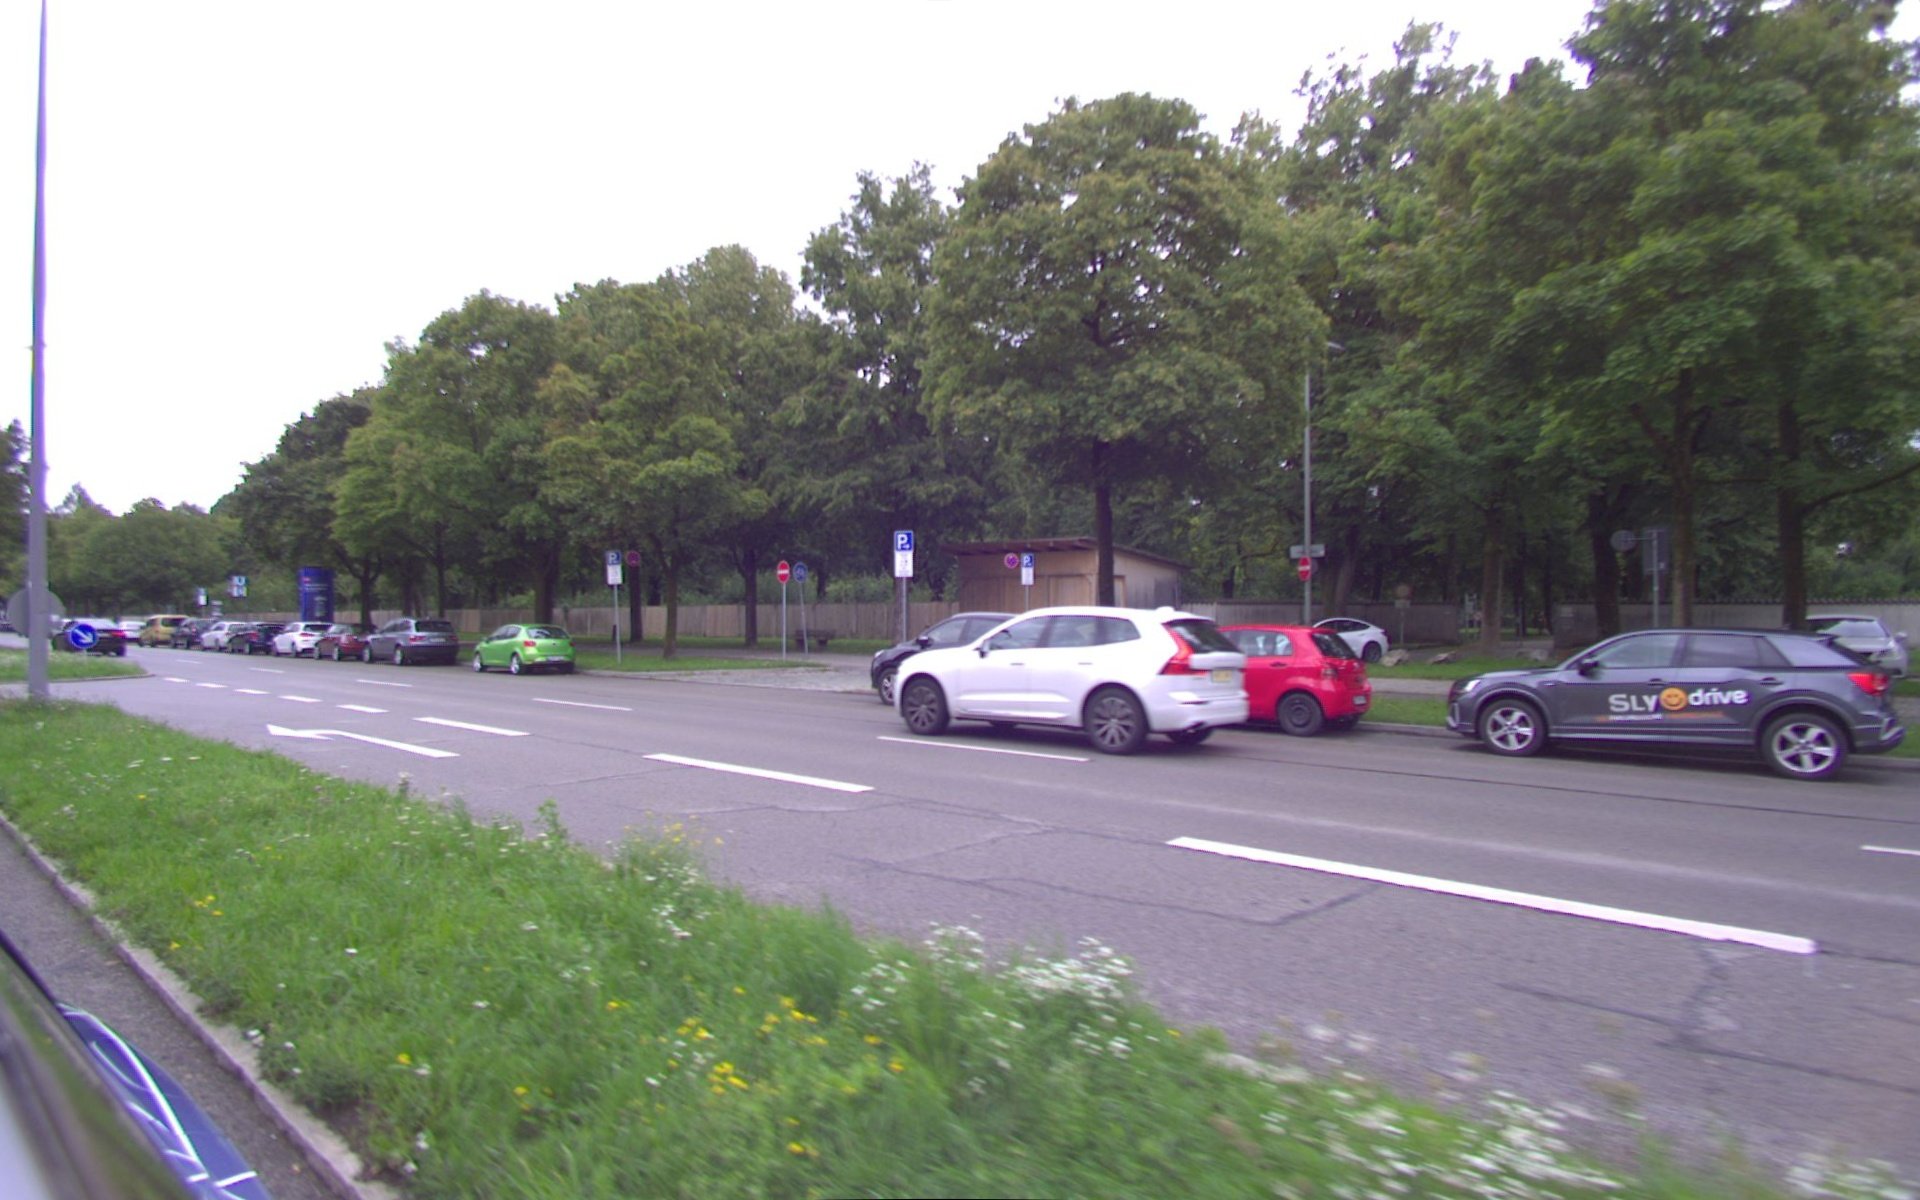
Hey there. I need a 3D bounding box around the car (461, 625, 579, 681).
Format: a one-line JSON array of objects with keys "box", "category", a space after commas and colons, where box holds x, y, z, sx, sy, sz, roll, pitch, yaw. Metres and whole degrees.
[{"box": [-12.795, 1.499, 29.322, 3.999, 1.511, 1.623, -2, -3, 42], "category": "car"}]

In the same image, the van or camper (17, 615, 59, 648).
[{"box": [-81.923, 2.824, 89.932, 4.926, 2.829, 1.974, -1, -3, 39], "category": "van or camper"}]

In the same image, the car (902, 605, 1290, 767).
[{"box": [1.513, 0.939, 12.282, 4.400, 1.612, 1.831, -1, -4, 41], "category": "car"}]

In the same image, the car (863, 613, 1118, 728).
[{"box": [0.451, 1.115, 17.604, 4.236, 1.712, 1.803, 0, 0, 40], "category": "car"}]

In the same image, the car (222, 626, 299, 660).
[{"box": [-31.671, 1.953, 45.779, 3.784, 1.457, 1.803, -1, -4, 39], "category": "car"}]

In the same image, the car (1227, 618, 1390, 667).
[{"box": [10.763, 1.284, 31.354, 4.395, 1.420, 1.863, 0, -1, -12], "category": "car"}]

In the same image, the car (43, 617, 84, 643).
[{"box": [-72.389, 2.417, 81.726, 3.997, 2.029, 1.973, -1, -1, 41], "category": "car"}]

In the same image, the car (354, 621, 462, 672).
[{"box": [-19.050, 1.553, 34.846, 4.454, 1.643, 1.802, -1, -2, 41], "category": "car"}]

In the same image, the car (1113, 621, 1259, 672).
[{"box": [6.691, 1.347, 30.086, 3.793, 1.420, 1.865, 0, -1, -17], "category": "car"}]

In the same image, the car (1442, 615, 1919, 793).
[{"box": [7.804, 0.984, 11.201, 4.112, 1.611, 1.802, -1, -2, 42], "category": "car"}]

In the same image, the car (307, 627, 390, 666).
[{"box": [-23.356, 1.760, 38.612, 3.686, 1.433, 1.632, -1, -4, 42], "category": "car"}]

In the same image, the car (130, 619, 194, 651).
[{"box": [-45.230, 1.977, 57.320, 4.529, 1.784, 1.839, -1, -3, 39], "category": "car"}]

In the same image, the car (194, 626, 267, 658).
[{"box": [-35.686, 2.036, 49.454, 4.296, 1.481, 1.803, -1, -3, 39], "category": "car"}]

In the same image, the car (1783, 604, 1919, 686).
[{"box": [17.667, 0.816, 19.901, 1.996, 1.453, 3.952, -1, -1, 35], "category": "car"}]

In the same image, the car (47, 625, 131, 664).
[{"box": [-34.704, 1.742, 40.274, 4.778, 1.459, 1.797, -1, -2, 40], "category": "car"}]

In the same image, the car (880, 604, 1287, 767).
[{"box": [1.361, 0.916, 12.454, 4.681, 1.632, 2.004, -1, -2, 41], "category": "car"}]

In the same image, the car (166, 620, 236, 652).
[{"box": [-40.153, 1.899, 53.523, 4.037, 1.628, 1.982, -1, -3, 39], "category": "car"}]

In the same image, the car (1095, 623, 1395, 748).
[{"box": [4.065, 1.117, 14.683, 3.807, 1.490, 1.803, 0, 0, 40], "category": "car"}]

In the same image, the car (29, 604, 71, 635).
[{"box": [-78.015, 1.684, 86.750, 4.495, 2.611, 1.974, -1, -3, 39], "category": "car"}]

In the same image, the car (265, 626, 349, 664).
[{"box": [-27.203, 1.856, 42.112, 4.258, 1.488, 1.802, -1, -4, 42], "category": "car"}]

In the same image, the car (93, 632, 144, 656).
[{"box": [-53.249, 2.754, 64.050, 4.037, 1.454, 1.695, -1, -3, 39], "category": "car"}]

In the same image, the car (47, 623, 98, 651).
[{"box": [-51.035, 2.110, 58.190, 3.720, 1.565, 1.802, -1, -1, 42], "category": "car"}]
